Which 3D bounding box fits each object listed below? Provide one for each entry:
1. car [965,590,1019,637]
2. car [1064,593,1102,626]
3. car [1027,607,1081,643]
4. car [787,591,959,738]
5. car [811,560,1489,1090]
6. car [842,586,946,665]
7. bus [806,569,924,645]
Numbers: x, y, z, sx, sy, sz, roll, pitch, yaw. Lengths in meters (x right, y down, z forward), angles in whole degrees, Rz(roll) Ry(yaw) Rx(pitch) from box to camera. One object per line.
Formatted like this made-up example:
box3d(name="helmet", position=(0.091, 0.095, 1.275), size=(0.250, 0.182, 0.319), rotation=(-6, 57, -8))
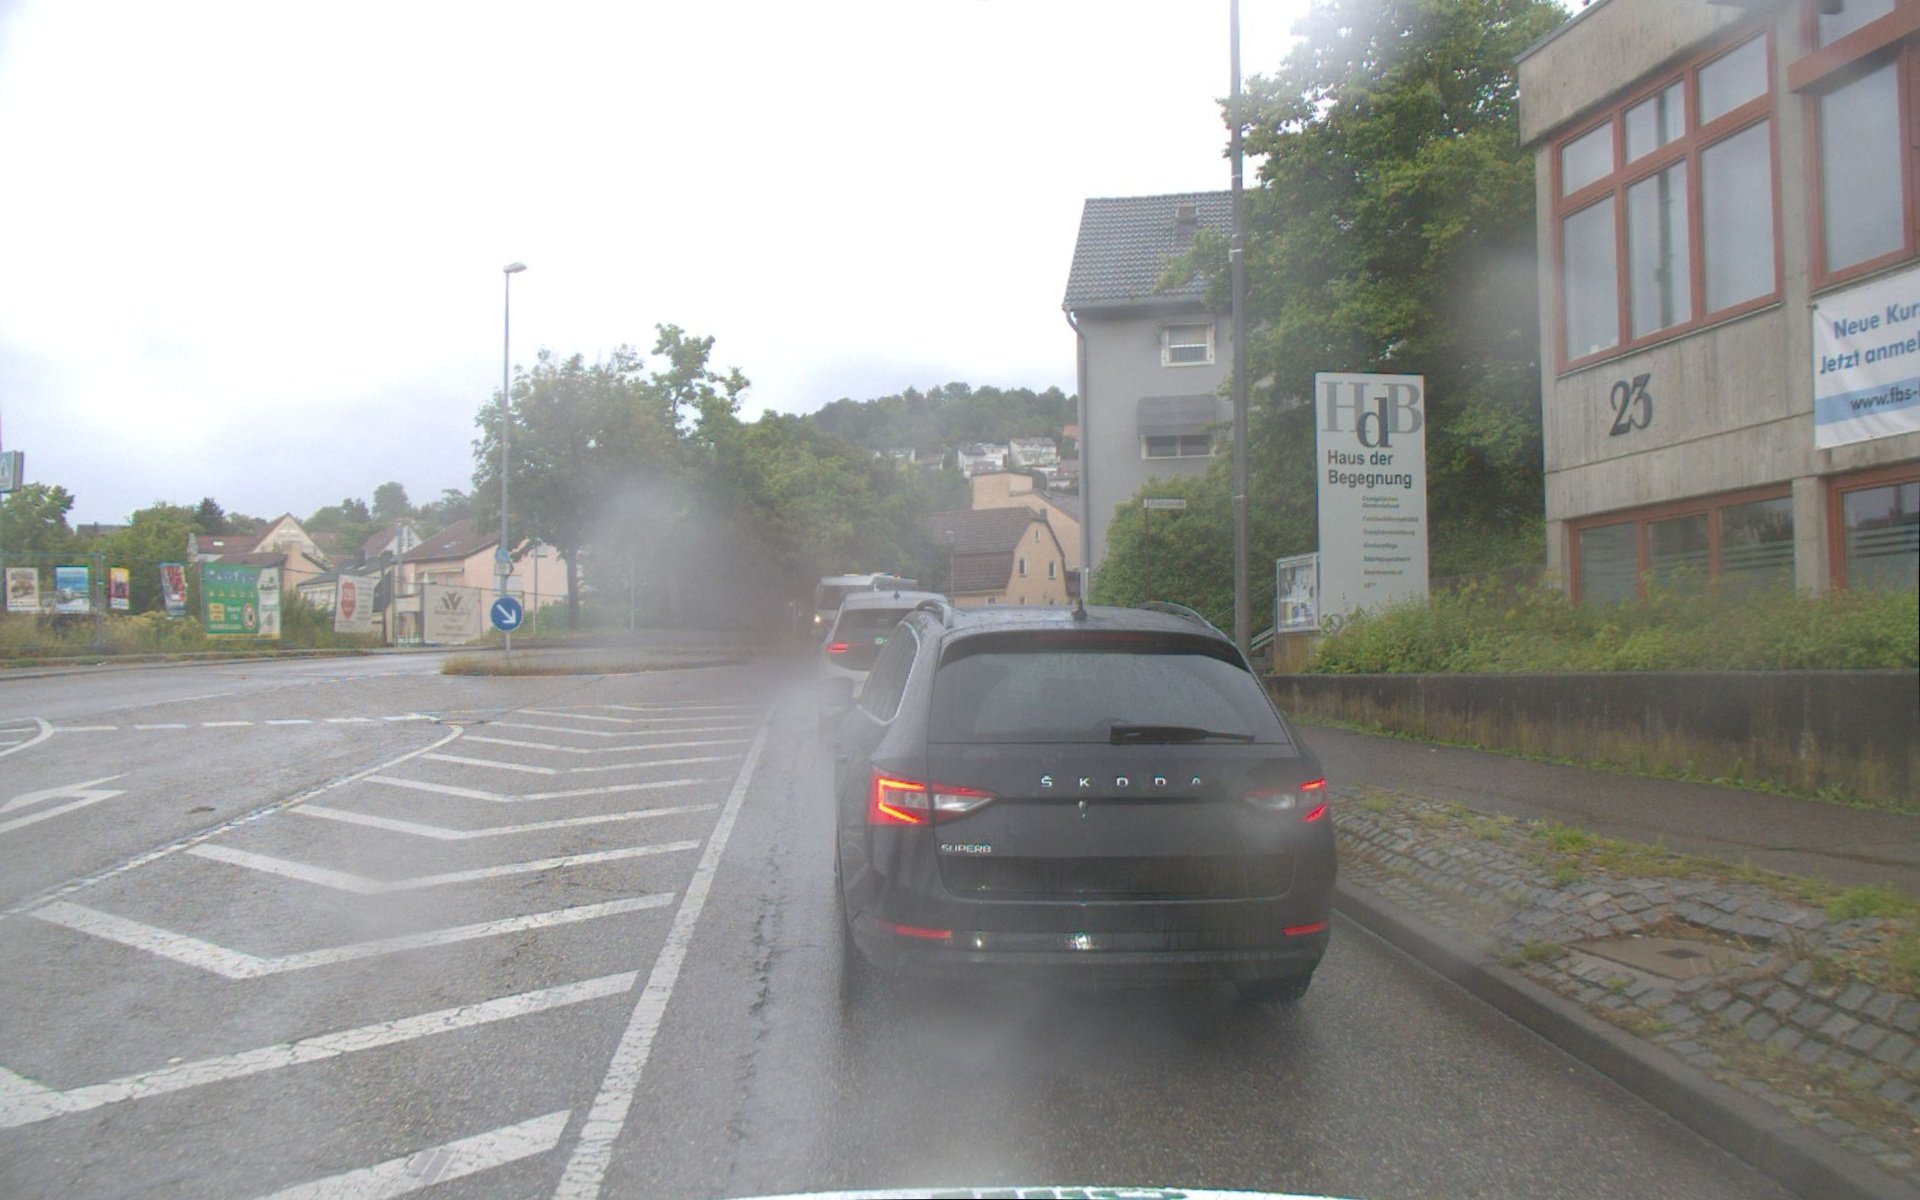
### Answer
box3d(name="car", position=(1.147, 0.449, 57.594), size=(1.534, 1.557, 4.003), rotation=(0, 0, 6))
box3d(name="car", position=(7.937, 0.621, 107.364), size=(1.954, 2.049, 3.997), rotation=(1, -1, -3))
box3d(name="car", position=(4.235, 1.102, 74.083), size=(1.951, 1.478, 3.774), rotation=(-3, -1, 9))
box3d(name="car", position=(-0.924, 0.702, 19.360), size=(1.791, 1.526, 4.167), rotation=(0, -1, -1))
box3d(name="car", position=(0.386, 0.709, 7.195), size=(1.917, 1.534, 4.602), rotation=(2, -1, -6))
box3d(name="car", position=(-1.210, 0.493, 32.168), size=(1.810, 1.434, 4.301), rotation=(0, -1, 1))
box3d(name="bus", position=(-3.495, 0.222, 63.007), size=(2.346, 2.723, 7.053), rotation=(-1, 0, 15))
